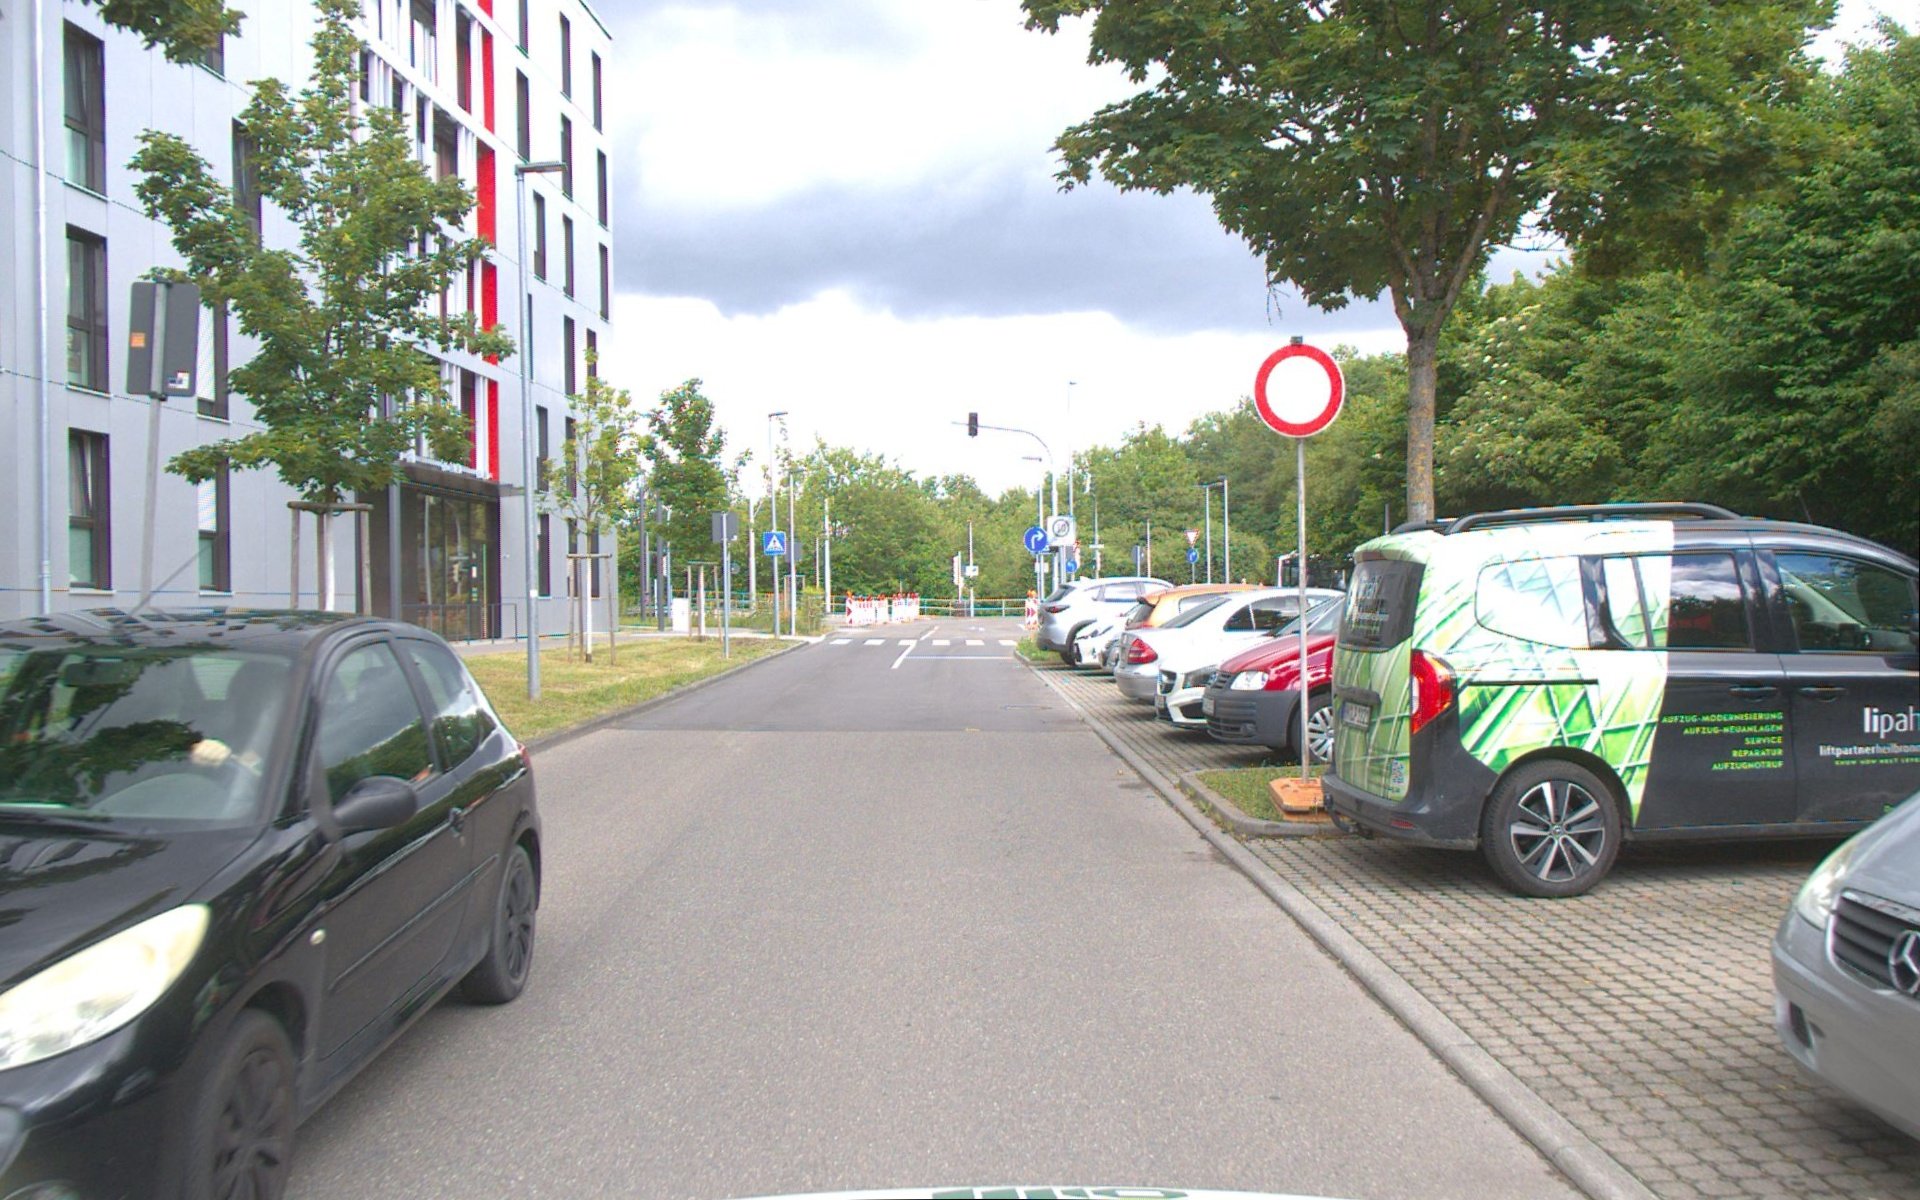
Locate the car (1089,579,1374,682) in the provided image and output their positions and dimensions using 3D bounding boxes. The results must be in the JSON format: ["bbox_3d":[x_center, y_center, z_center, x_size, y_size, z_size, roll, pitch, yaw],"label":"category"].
[{"bbox_3d":[4.363,0.463,27.025,4.291,1.610,1.915,0,1,-3],"label":"car"}]

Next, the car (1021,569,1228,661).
[{"bbox_3d":[3.543,0.302,36.201,4.291,1.936,1.915,0,1,-3],"label":"car"}]

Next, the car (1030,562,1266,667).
[{"bbox_3d":[3.558,0.254,31.840,4.291,1.936,1.915,0,1,-3],"label":"car"}]

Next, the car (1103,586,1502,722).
[{"bbox_3d":[3.943,0.599,19.556,4.291,1.500,1.915,0,1,-3],"label":"car"}]

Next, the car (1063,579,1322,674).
[{"bbox_3d":[4.064,0.442,29.403,4.291,1.610,1.915,0,1,-3],"label":"car"}]

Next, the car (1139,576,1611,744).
[{"bbox_3d":[4.083,0.566,16.770,4.291,1.601,1.915,0,0,-3],"label":"car"}]

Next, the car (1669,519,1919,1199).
[{"bbox_3d":[4.279,0.522,3.987,4.291,1.604,1.915,-3,1,-3],"label":"car"}]

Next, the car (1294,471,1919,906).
[{"bbox_3d":[4.170,0.356,8.820,4.291,1.937,1.915,-3,1,-3],"label":"car"}]

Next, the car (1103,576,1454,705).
[{"bbox_3d":[4.167,0.502,22.122,4.291,1.646,1.915,0,1,-3],"label":"car"}]

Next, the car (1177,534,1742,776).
[{"bbox_3d":[4.175,0.426,14.309,4.291,1.937,1.936,0,1,-3],"label":"car"}]

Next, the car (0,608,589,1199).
[{"bbox_3d":[-2.274,0.759,4.808,1.576,1.412,3.999,0,0,-2],"label":"car"}]
